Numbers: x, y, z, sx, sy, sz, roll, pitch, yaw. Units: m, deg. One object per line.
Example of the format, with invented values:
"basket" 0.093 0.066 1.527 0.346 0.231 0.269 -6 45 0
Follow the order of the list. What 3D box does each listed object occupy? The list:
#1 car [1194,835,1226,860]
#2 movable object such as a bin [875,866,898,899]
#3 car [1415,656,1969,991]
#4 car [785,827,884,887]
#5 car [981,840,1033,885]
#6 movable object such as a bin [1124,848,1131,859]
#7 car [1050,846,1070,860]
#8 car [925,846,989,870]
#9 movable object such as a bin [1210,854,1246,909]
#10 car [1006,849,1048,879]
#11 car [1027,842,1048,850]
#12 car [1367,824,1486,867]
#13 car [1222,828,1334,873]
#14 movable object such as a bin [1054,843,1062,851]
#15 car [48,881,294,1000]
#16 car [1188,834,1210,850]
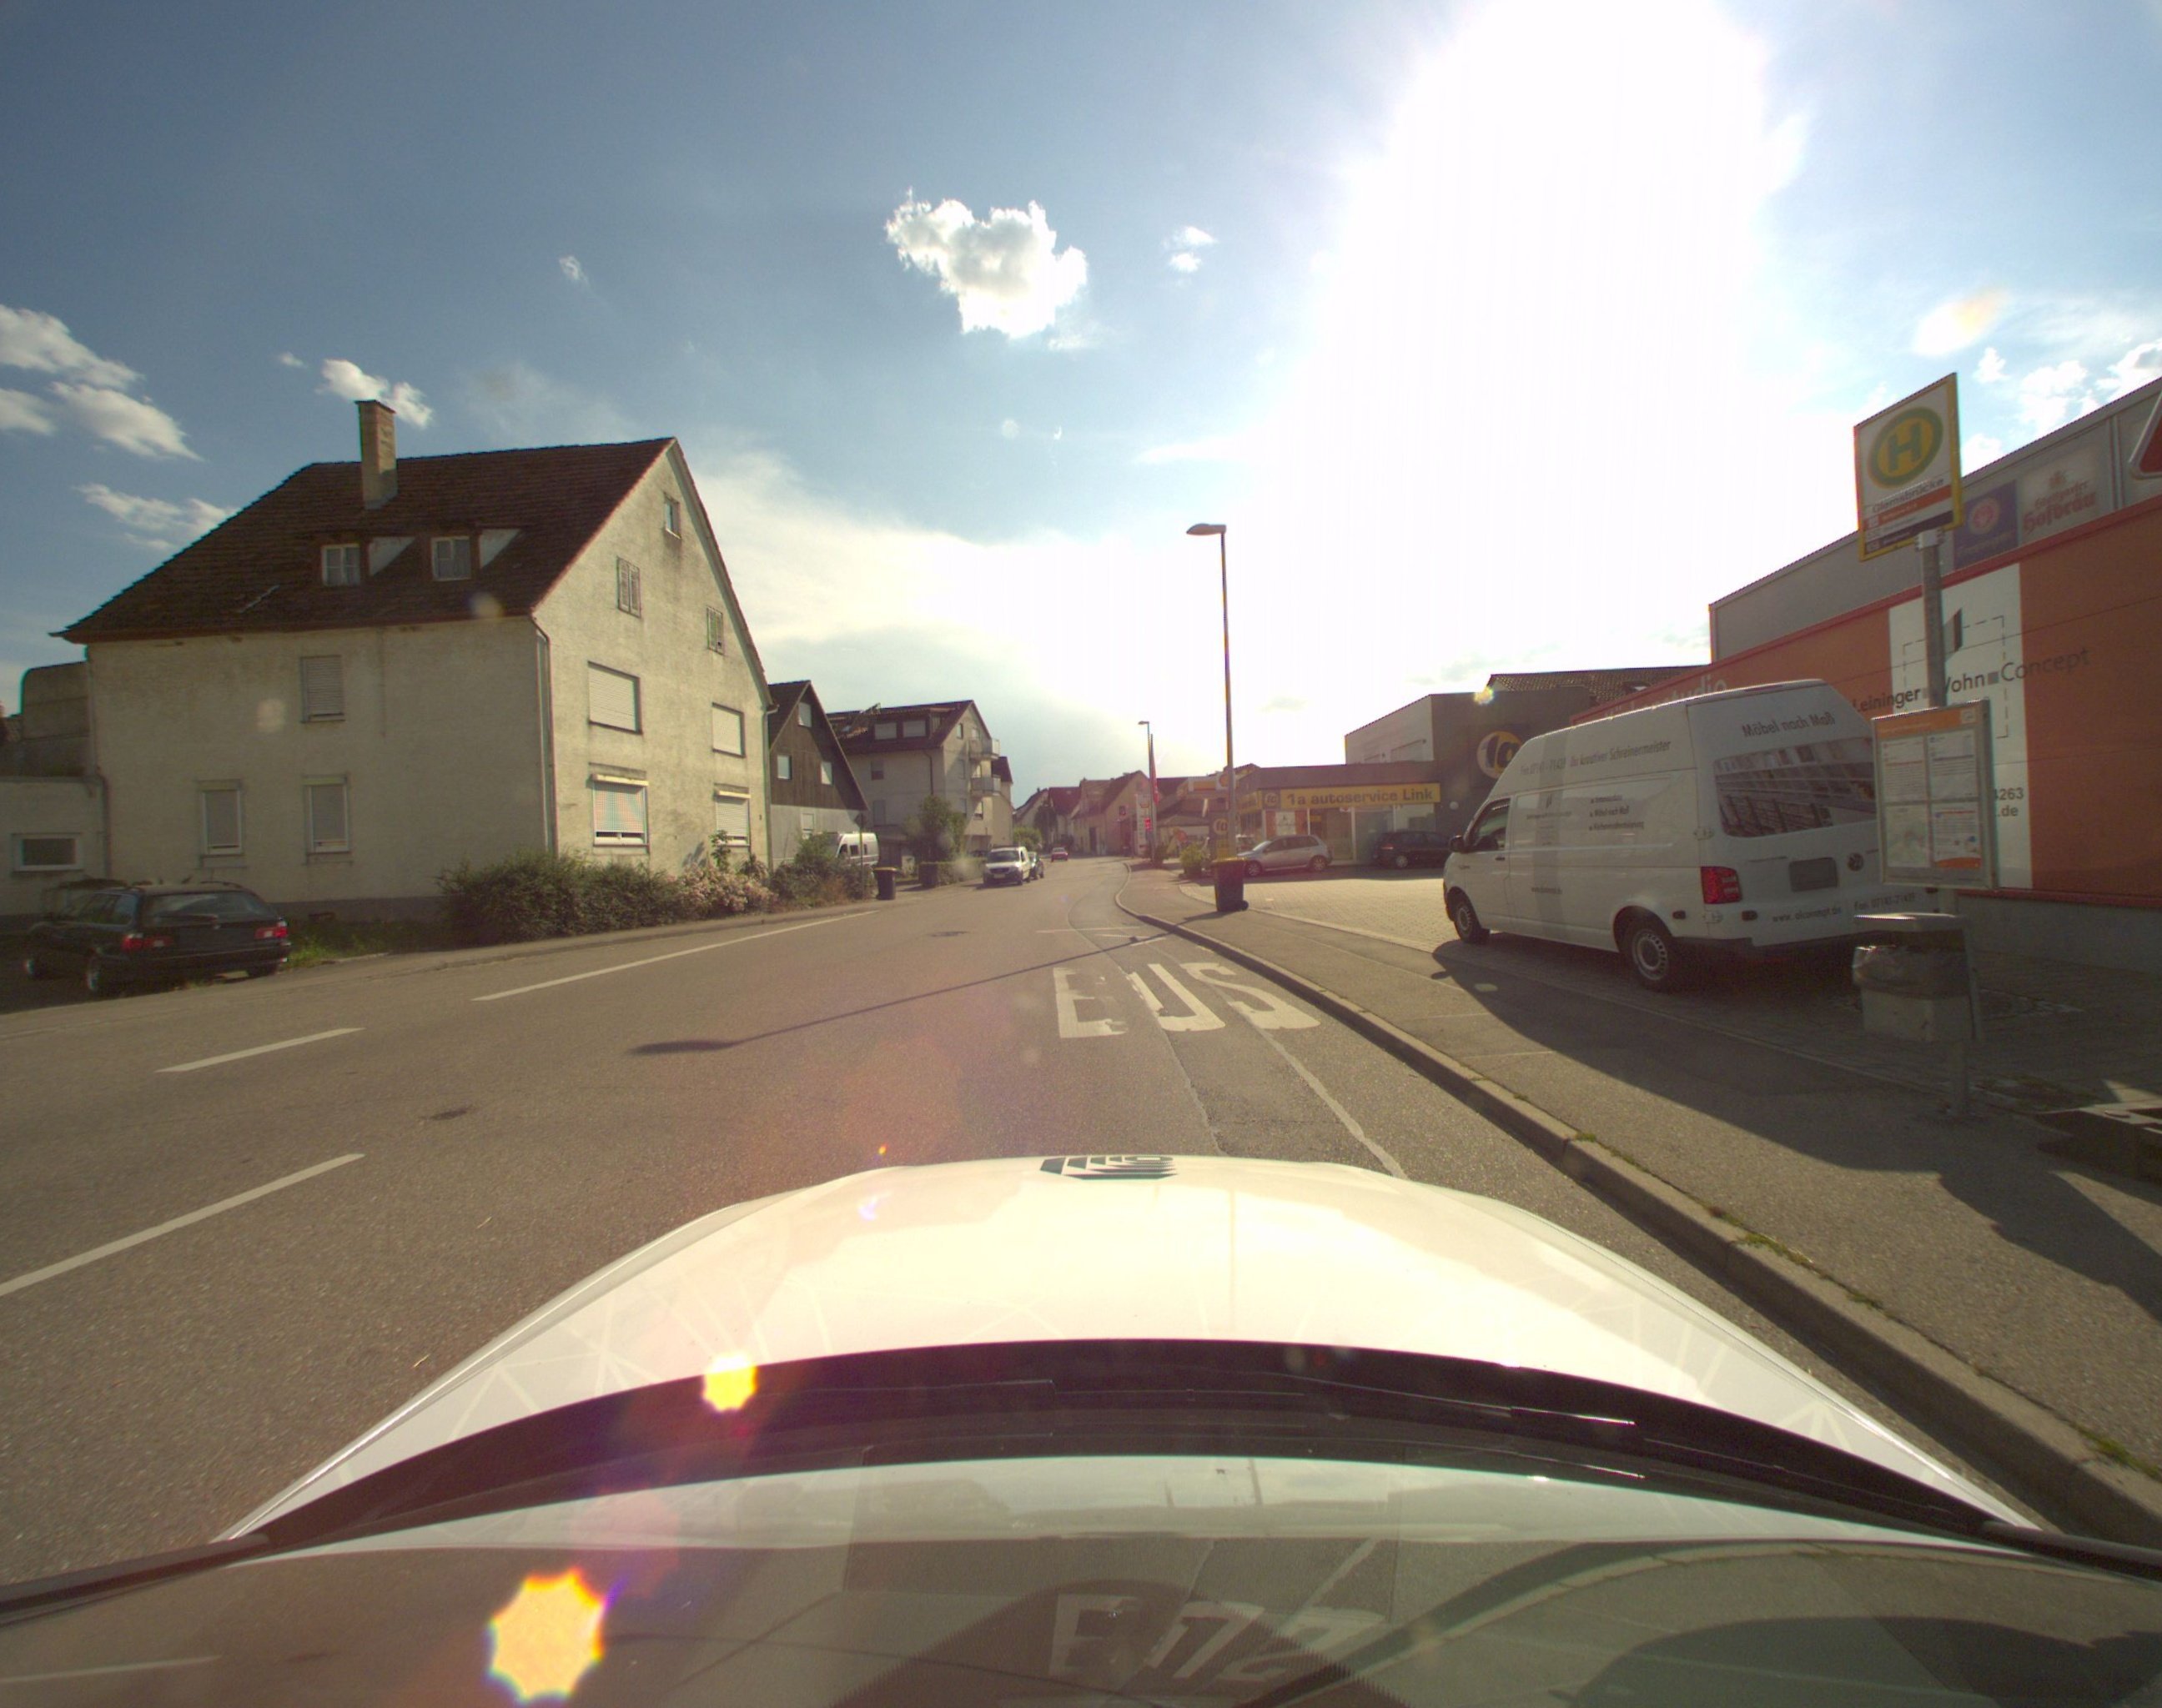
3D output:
"car" 8.956 -0.489 56.829 1.665 1.577 4.001 -3 1 3
"movable object such as a bin" -6.597 0.964 27.613 0.608 1.101 0.576 -1 -1 3
"car" 5.565 -0.242 8.584 1.831 2.374 5.177 -3 0 -1
"car" -11.661 0.090 39.147 2.146 2.595 6.108 -2 1 8
"car" -3.415 0.359 38.327 1.709 1.872 4.196 -4 0 4
"movable object such as a bin" 4.999 -0.044 88.096 0.651 1.073 0.513 -3 0 -1
"car" -2.298 -0.078 88.425 1.707 1.434 3.770 -4 0 -8
"car" -8.566 0.256 56.378 3.959 1.538 1.770 2 2 14
"movable object such as a bin" 3.024 0.560 16.791 0.565 1.075 0.572 -4 0 -2
"car" -2.870 0.495 43.662 1.665 1.451 3.839 -3 0 4
"car" -8.414 -1.631 158.180 3.983 1.352 1.707 -3 1 -7
"car" 13.428 -0.355 31.755 3.893 1.467 1.716 -3 2 -1
"car" 7.720 -0.131 32.128 3.980 1.531 1.525 -3 0 -5
"movable object such as a bin" -3.864 -1.186 137.336 1.161 1.168 0.653 -3 0 -10
"car" -13.653 1.174 12.181 3.949 1.433 1.664 -1 1 30
"car" 11.112 -1.169 76.943 1.572 1.427 4.382 -2 1 1
